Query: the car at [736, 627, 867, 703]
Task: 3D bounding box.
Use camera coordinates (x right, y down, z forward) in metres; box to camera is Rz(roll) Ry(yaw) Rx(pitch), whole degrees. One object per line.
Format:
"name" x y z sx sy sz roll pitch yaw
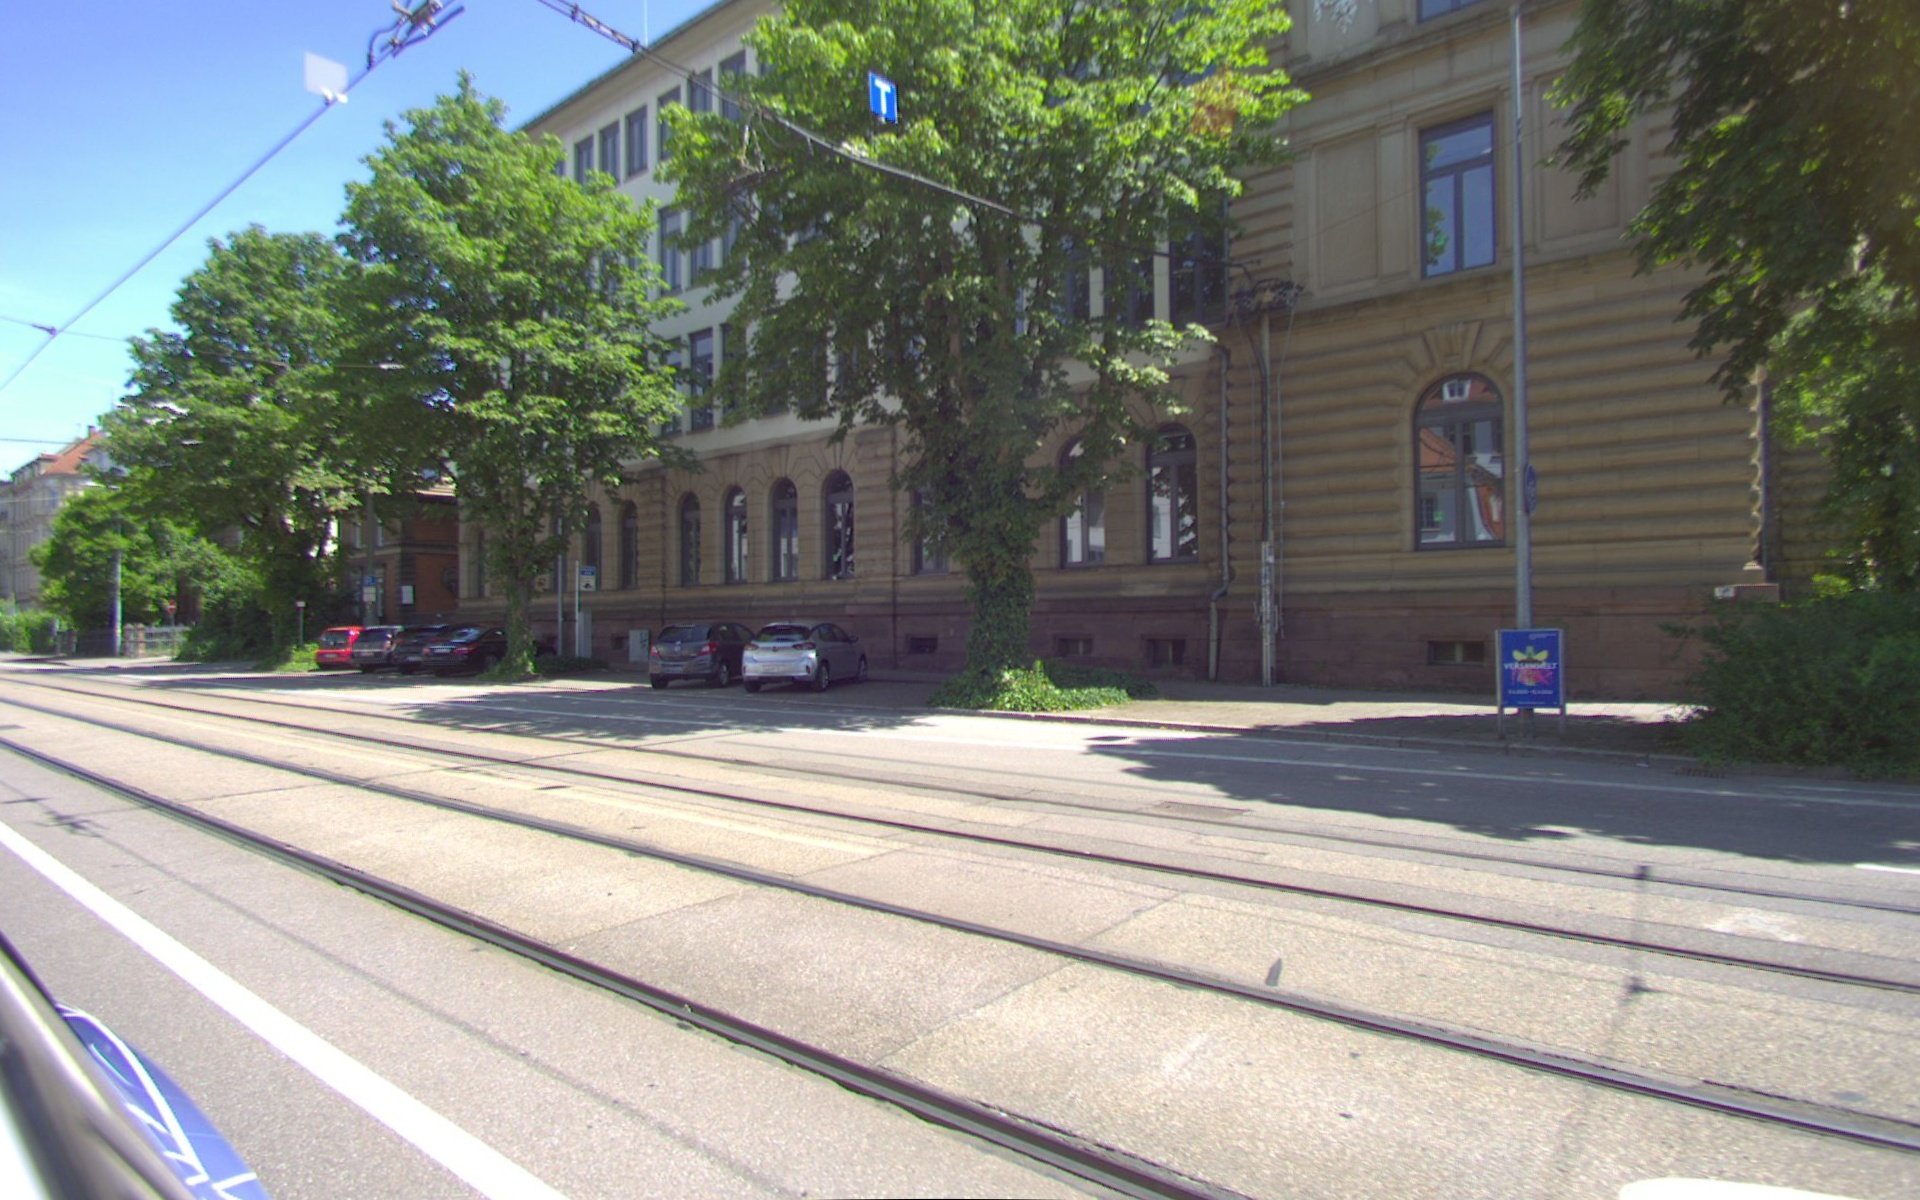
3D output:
"car" -3.268 1.330 21.498 1.684 1.416 3.538 -1 -1 10

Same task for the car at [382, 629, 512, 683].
"car" -16.087 1.718 31.960 1.773 1.589 3.807 -1 -2 9

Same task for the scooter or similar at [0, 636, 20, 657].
"scooter or similar" -66.658 3.270 71.002 0.596 1.462 0.999 -1 -1 39

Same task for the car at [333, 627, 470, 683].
"car" -18.423 1.771 33.623 1.651 1.596 4.309 -1 0 9

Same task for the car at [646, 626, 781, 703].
"car" -5.546 1.413 23.184 1.651 1.531 3.665 -1 0 10

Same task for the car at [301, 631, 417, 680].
"car" -21.063 1.923 35.603 1.653 1.527 3.339 -1 -1 13

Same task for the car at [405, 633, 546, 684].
"car" -14.047 1.665 29.589 1.653 1.385 3.917 -1 -2 13
